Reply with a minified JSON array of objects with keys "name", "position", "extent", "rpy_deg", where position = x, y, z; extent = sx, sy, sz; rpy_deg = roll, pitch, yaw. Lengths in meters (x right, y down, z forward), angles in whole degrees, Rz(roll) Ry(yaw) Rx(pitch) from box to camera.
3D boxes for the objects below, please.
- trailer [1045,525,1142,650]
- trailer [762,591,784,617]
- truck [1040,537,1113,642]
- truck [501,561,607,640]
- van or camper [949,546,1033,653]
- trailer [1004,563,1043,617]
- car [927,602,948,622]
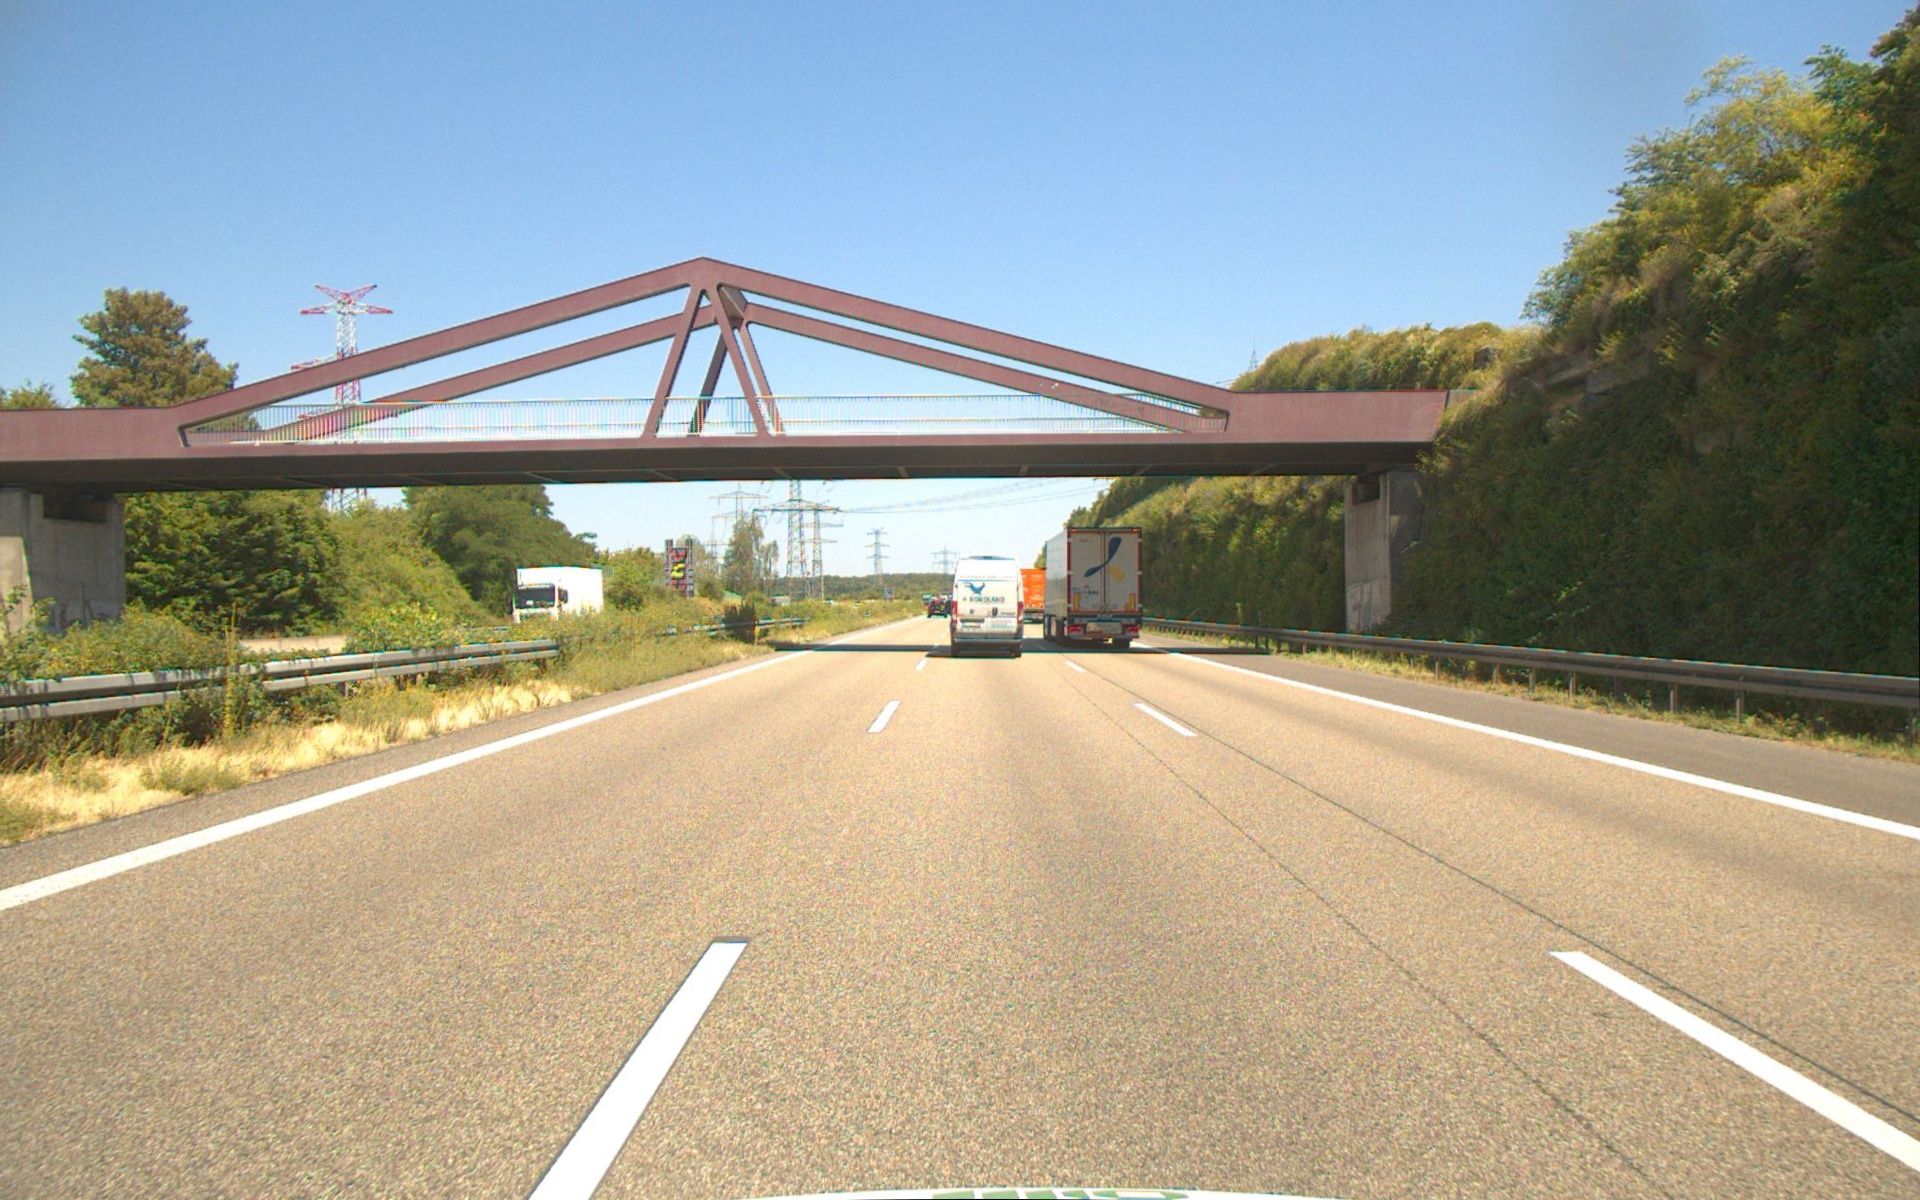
[{"name":"trailer","position":[4.777,-0.437,61.562],"extent":[2.583,4.131,12.366],"rpy_deg":[1,0,0]},{"name":"trailer","position":[-20.188,0.411,178.832],"extent":[1.763,2.664,4.408],"rpy_deg":[1,0,2]},{"name":"truck","position":[4.797,-0.439,69.137],"extent":[2.583,4.131,5.800],"rpy_deg":[1,0,0]},{"name":"truck","position":[-20.061,0.013,82.416],"extent":[2.751,3.599,10.187],"rpy_deg":[-2,0,-1]},{"name":"van or camper","position":[0.826,-0.021,47.307],"extent":[2.185,2.831,5.422],"rpy_deg":[1,0,-1]},{"name":"trailer","position":[4.765,-0.750,125.340],"extent":[2.583,3.965,7.068],"rpy_deg":[1,0,0]},{"name":"car","position":[-2.288,1.190,166.693],"extent":[1.941,1.849,3.813],"rpy_deg":[1,0,1]}]
